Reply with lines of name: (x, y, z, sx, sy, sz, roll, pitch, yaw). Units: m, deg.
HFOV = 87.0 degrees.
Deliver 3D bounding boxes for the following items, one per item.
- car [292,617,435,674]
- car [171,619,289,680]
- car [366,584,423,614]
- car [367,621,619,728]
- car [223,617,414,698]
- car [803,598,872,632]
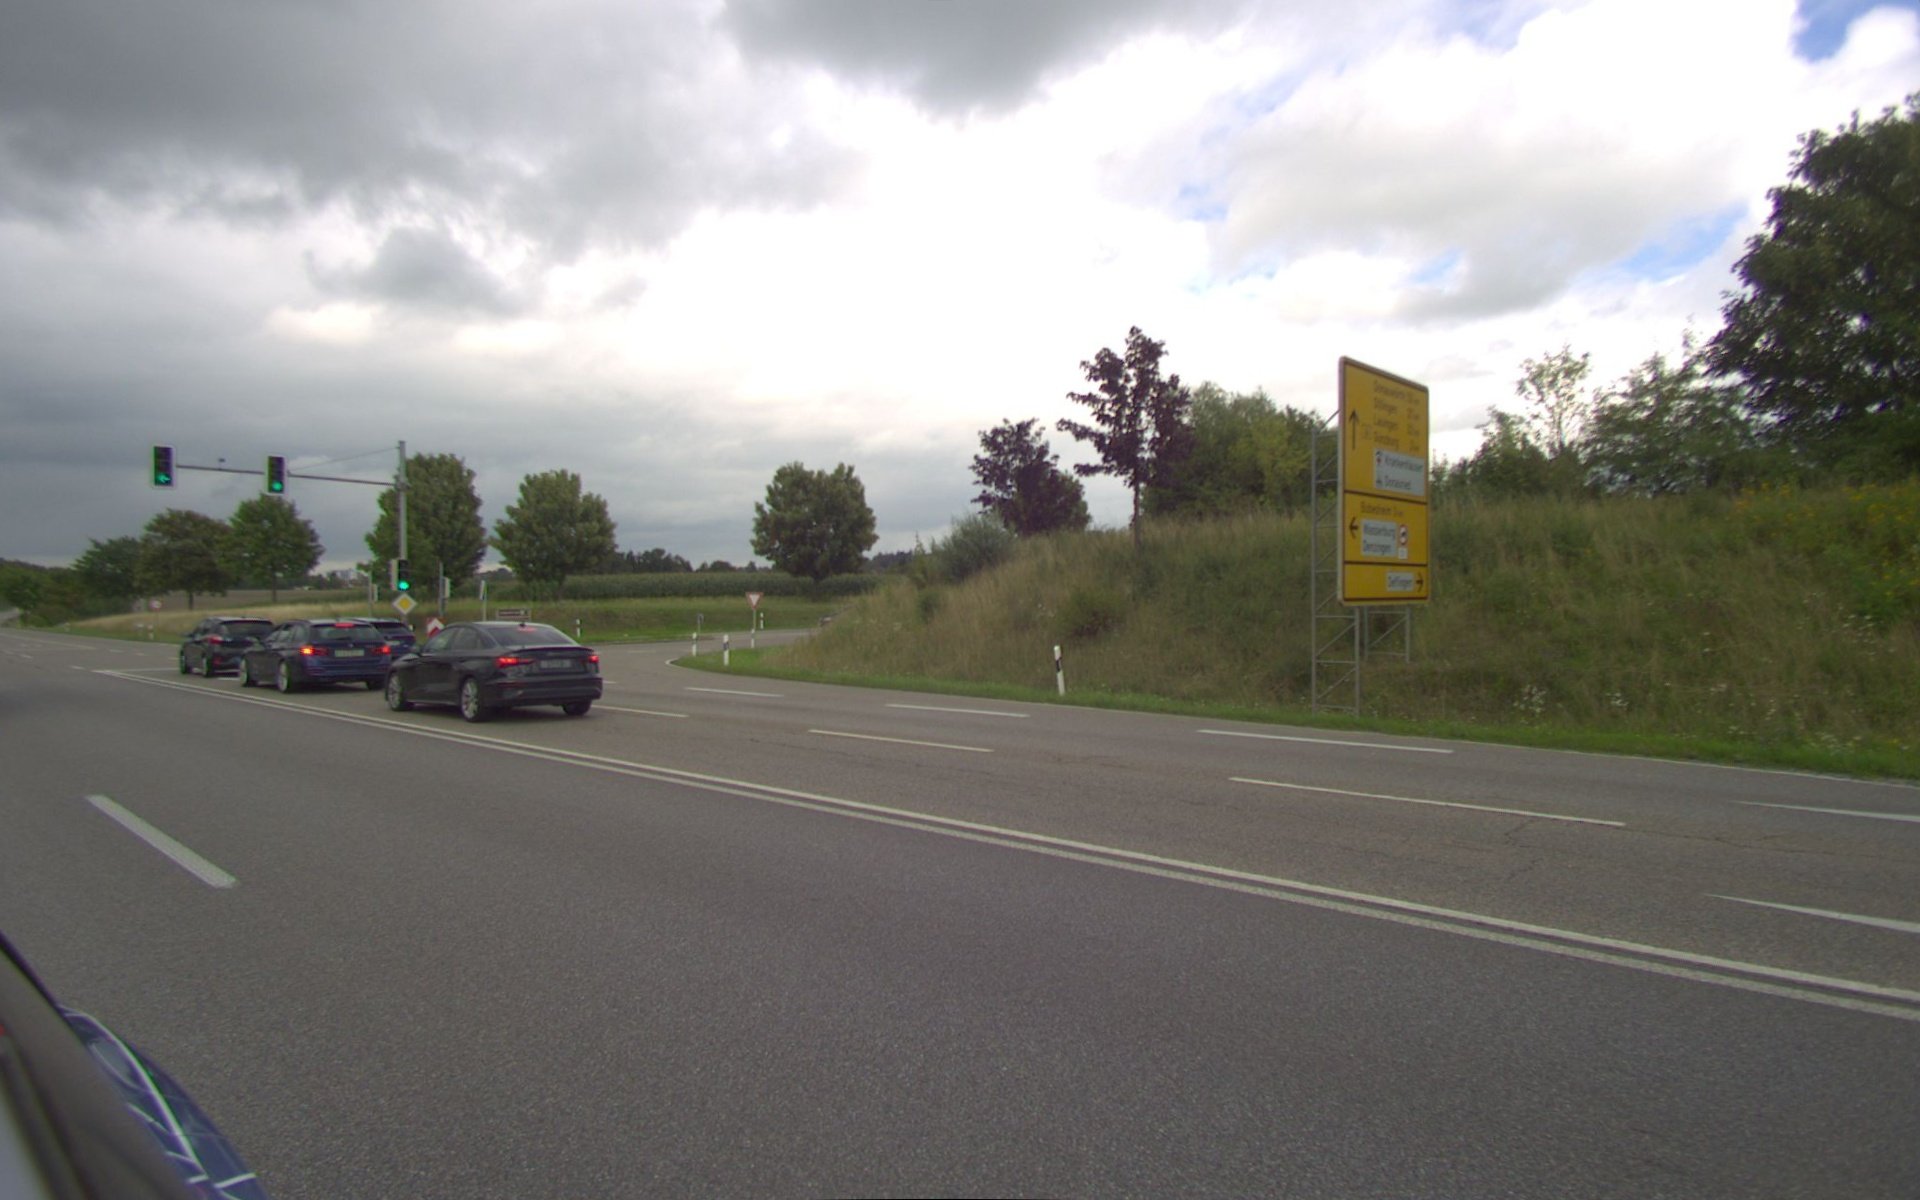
car: (-17.547, 1.269, 29.644, 5.122, 1.546, 2.025, -1, -1, 40)
car: (-18.759, 1.211, 25.949, 3.943, 1.454, 1.707, -1, -2, 43)
car: (-40.998, -0.051, 73.352, 3.990, 2.029, 1.977, -1, 1, 35)
car: (-7.271, 1.035, 15.560, 4.539, 1.394, 1.747, -1, -1, 40)
car: (-13.435, 1.121, 21.073, 4.879, 1.495, 2.027, -1, -2, 41)
car: (-7.525, 0.957, 62.478, 1.999, 2.029, 3.945, -1, -1, 41)
